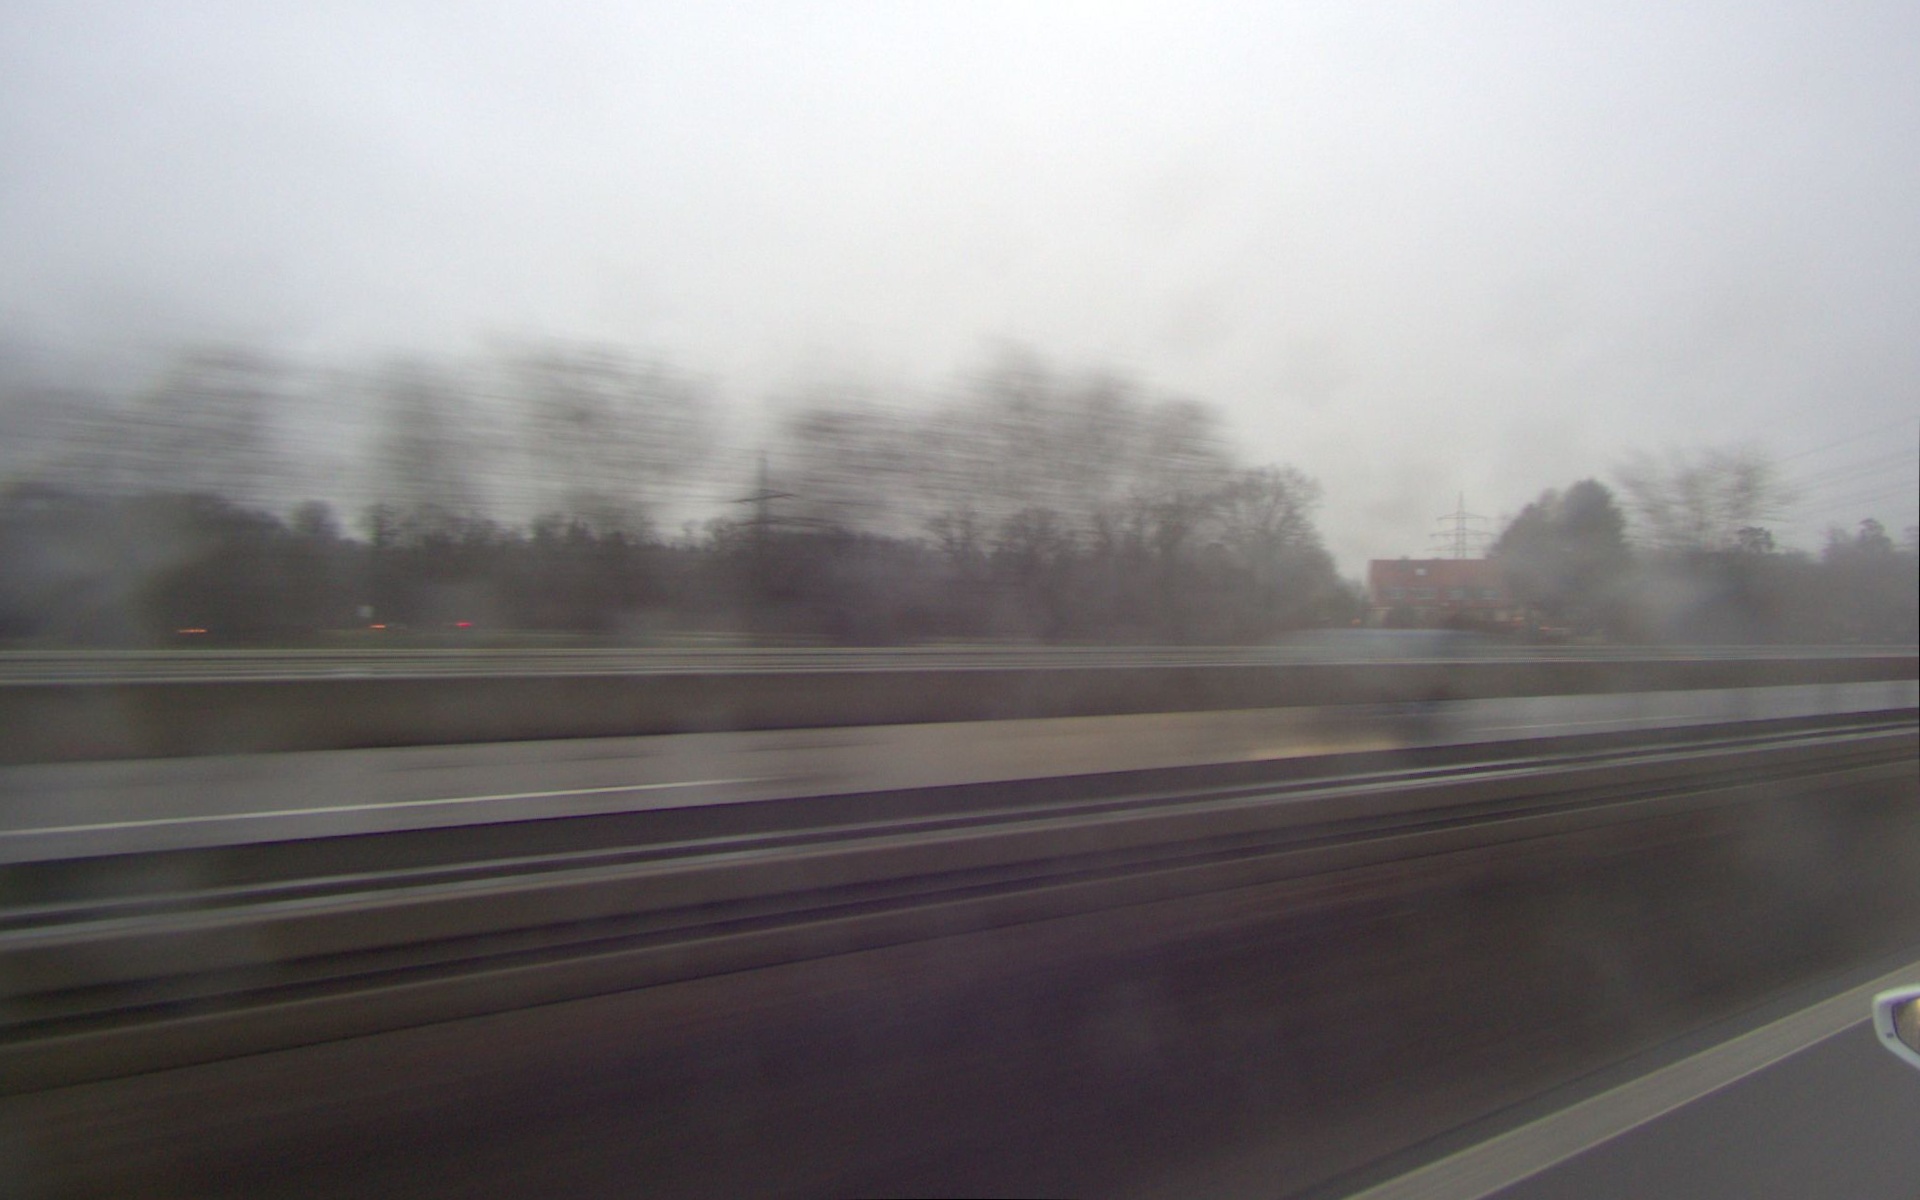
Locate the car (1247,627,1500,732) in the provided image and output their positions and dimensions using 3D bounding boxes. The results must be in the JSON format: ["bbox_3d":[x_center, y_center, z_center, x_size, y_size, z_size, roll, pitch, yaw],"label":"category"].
[{"bbox_3d":[6.523,1.184,15.752,3.952,1.383,1.526,2,1,-30],"label":"car"}]
